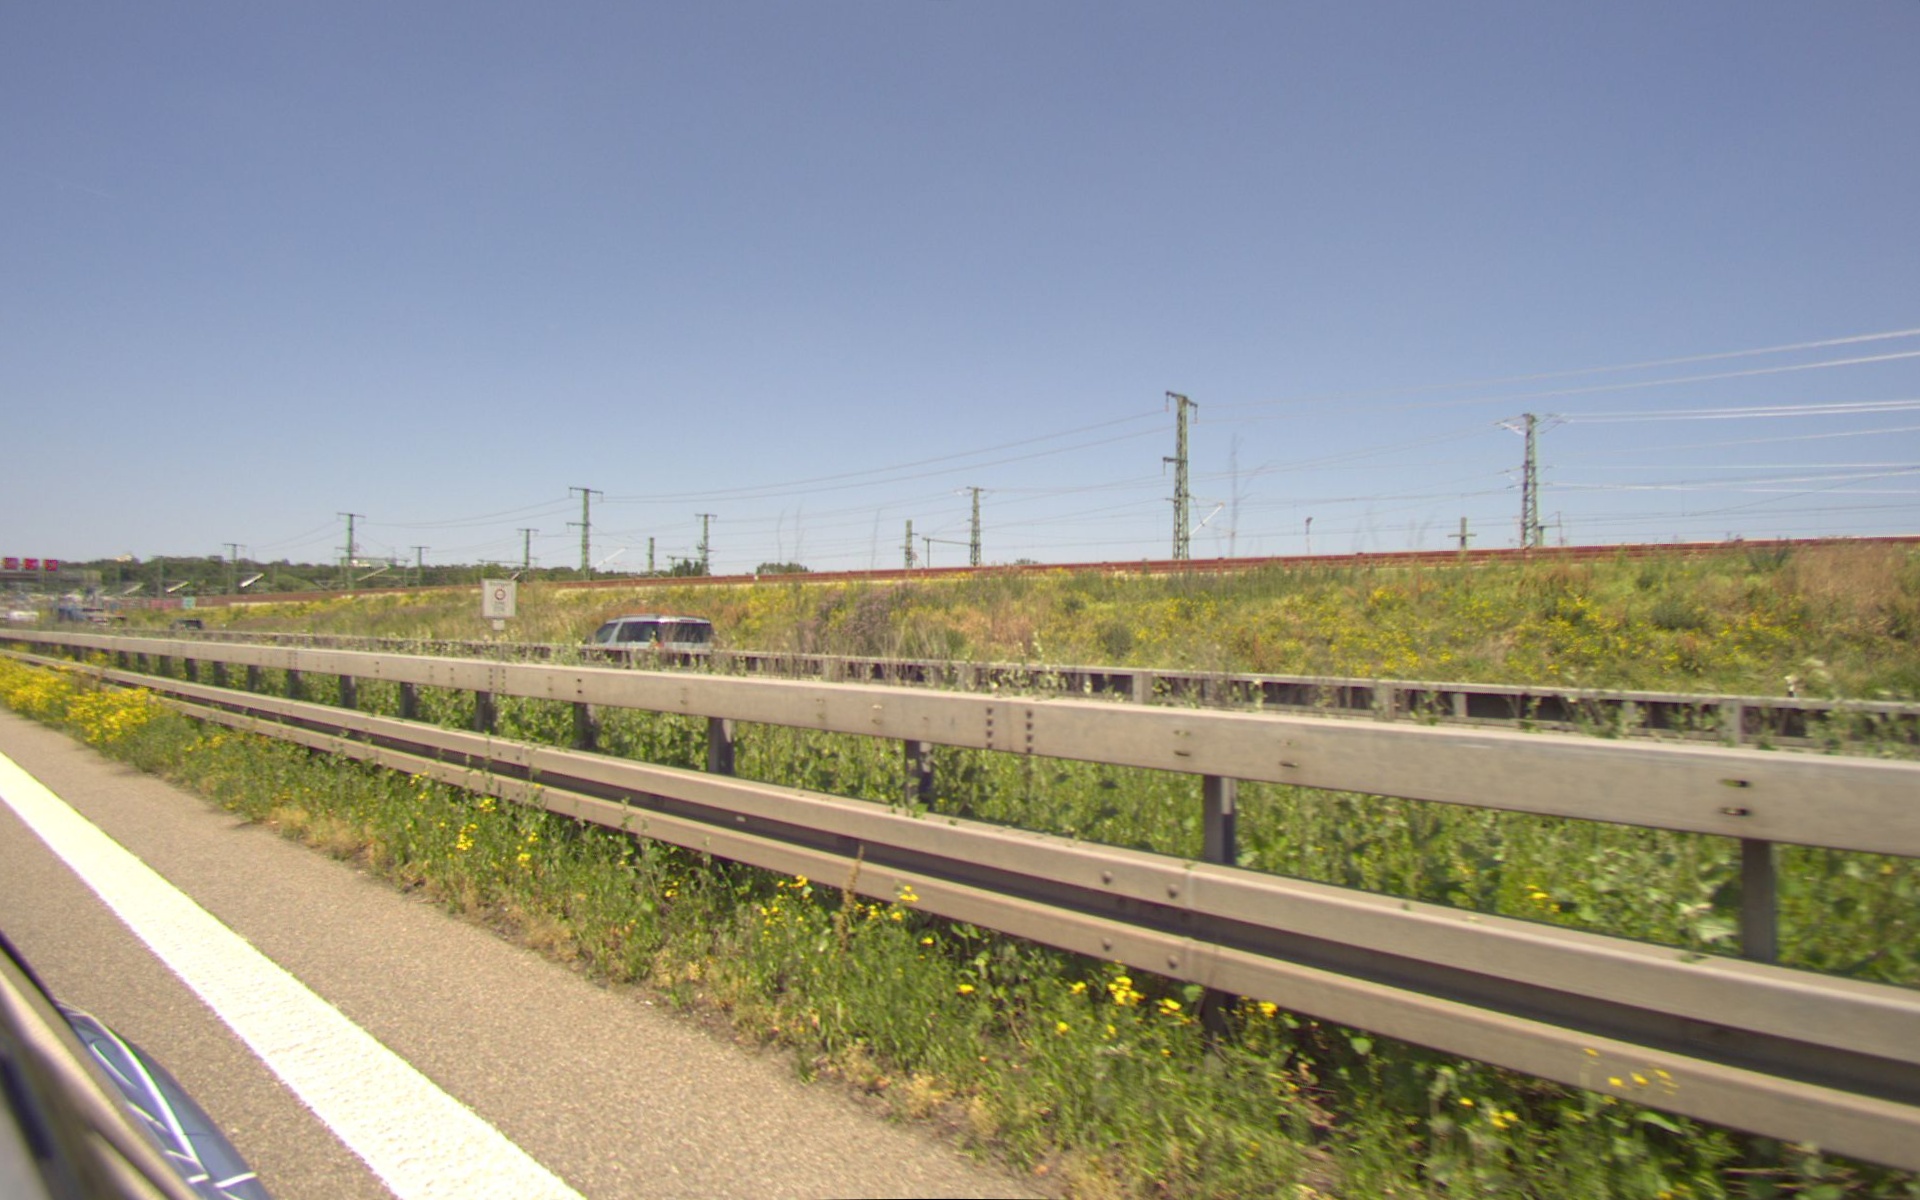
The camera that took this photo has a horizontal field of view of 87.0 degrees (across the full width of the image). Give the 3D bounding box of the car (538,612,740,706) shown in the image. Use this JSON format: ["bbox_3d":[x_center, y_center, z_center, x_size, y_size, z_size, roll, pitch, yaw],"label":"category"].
[{"bbox_3d":[-6.822,1.151,21.247,4.554,1.748,1.973,-1,-1,41],"label":"car"}]

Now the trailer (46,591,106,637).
[{"bbox_3d":[-77.997,1.297,89.267,7.199,3.897,3.019,-1,-2,41],"label":"trailer"}]

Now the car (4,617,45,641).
[{"bbox_3d":[-79.549,2.431,86.044,5.429,2.029,1.973,-1,-1,41],"label":"car"}]

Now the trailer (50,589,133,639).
[{"bbox_3d":[-73.153,1.217,85.062,15.969,3.897,3.019,-1,-2,41],"label":"trailer"}]

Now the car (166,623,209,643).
[{"bbox_3d":[-61.408,2.593,80.442,4.236,1.526,1.897,-1,-2,41],"label":"car"}]

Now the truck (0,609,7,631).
[{"bbox_3d":[-157.179,3.336,164.371,7.777,3.493,2.828,-1,0,42],"label":"truck"}]
